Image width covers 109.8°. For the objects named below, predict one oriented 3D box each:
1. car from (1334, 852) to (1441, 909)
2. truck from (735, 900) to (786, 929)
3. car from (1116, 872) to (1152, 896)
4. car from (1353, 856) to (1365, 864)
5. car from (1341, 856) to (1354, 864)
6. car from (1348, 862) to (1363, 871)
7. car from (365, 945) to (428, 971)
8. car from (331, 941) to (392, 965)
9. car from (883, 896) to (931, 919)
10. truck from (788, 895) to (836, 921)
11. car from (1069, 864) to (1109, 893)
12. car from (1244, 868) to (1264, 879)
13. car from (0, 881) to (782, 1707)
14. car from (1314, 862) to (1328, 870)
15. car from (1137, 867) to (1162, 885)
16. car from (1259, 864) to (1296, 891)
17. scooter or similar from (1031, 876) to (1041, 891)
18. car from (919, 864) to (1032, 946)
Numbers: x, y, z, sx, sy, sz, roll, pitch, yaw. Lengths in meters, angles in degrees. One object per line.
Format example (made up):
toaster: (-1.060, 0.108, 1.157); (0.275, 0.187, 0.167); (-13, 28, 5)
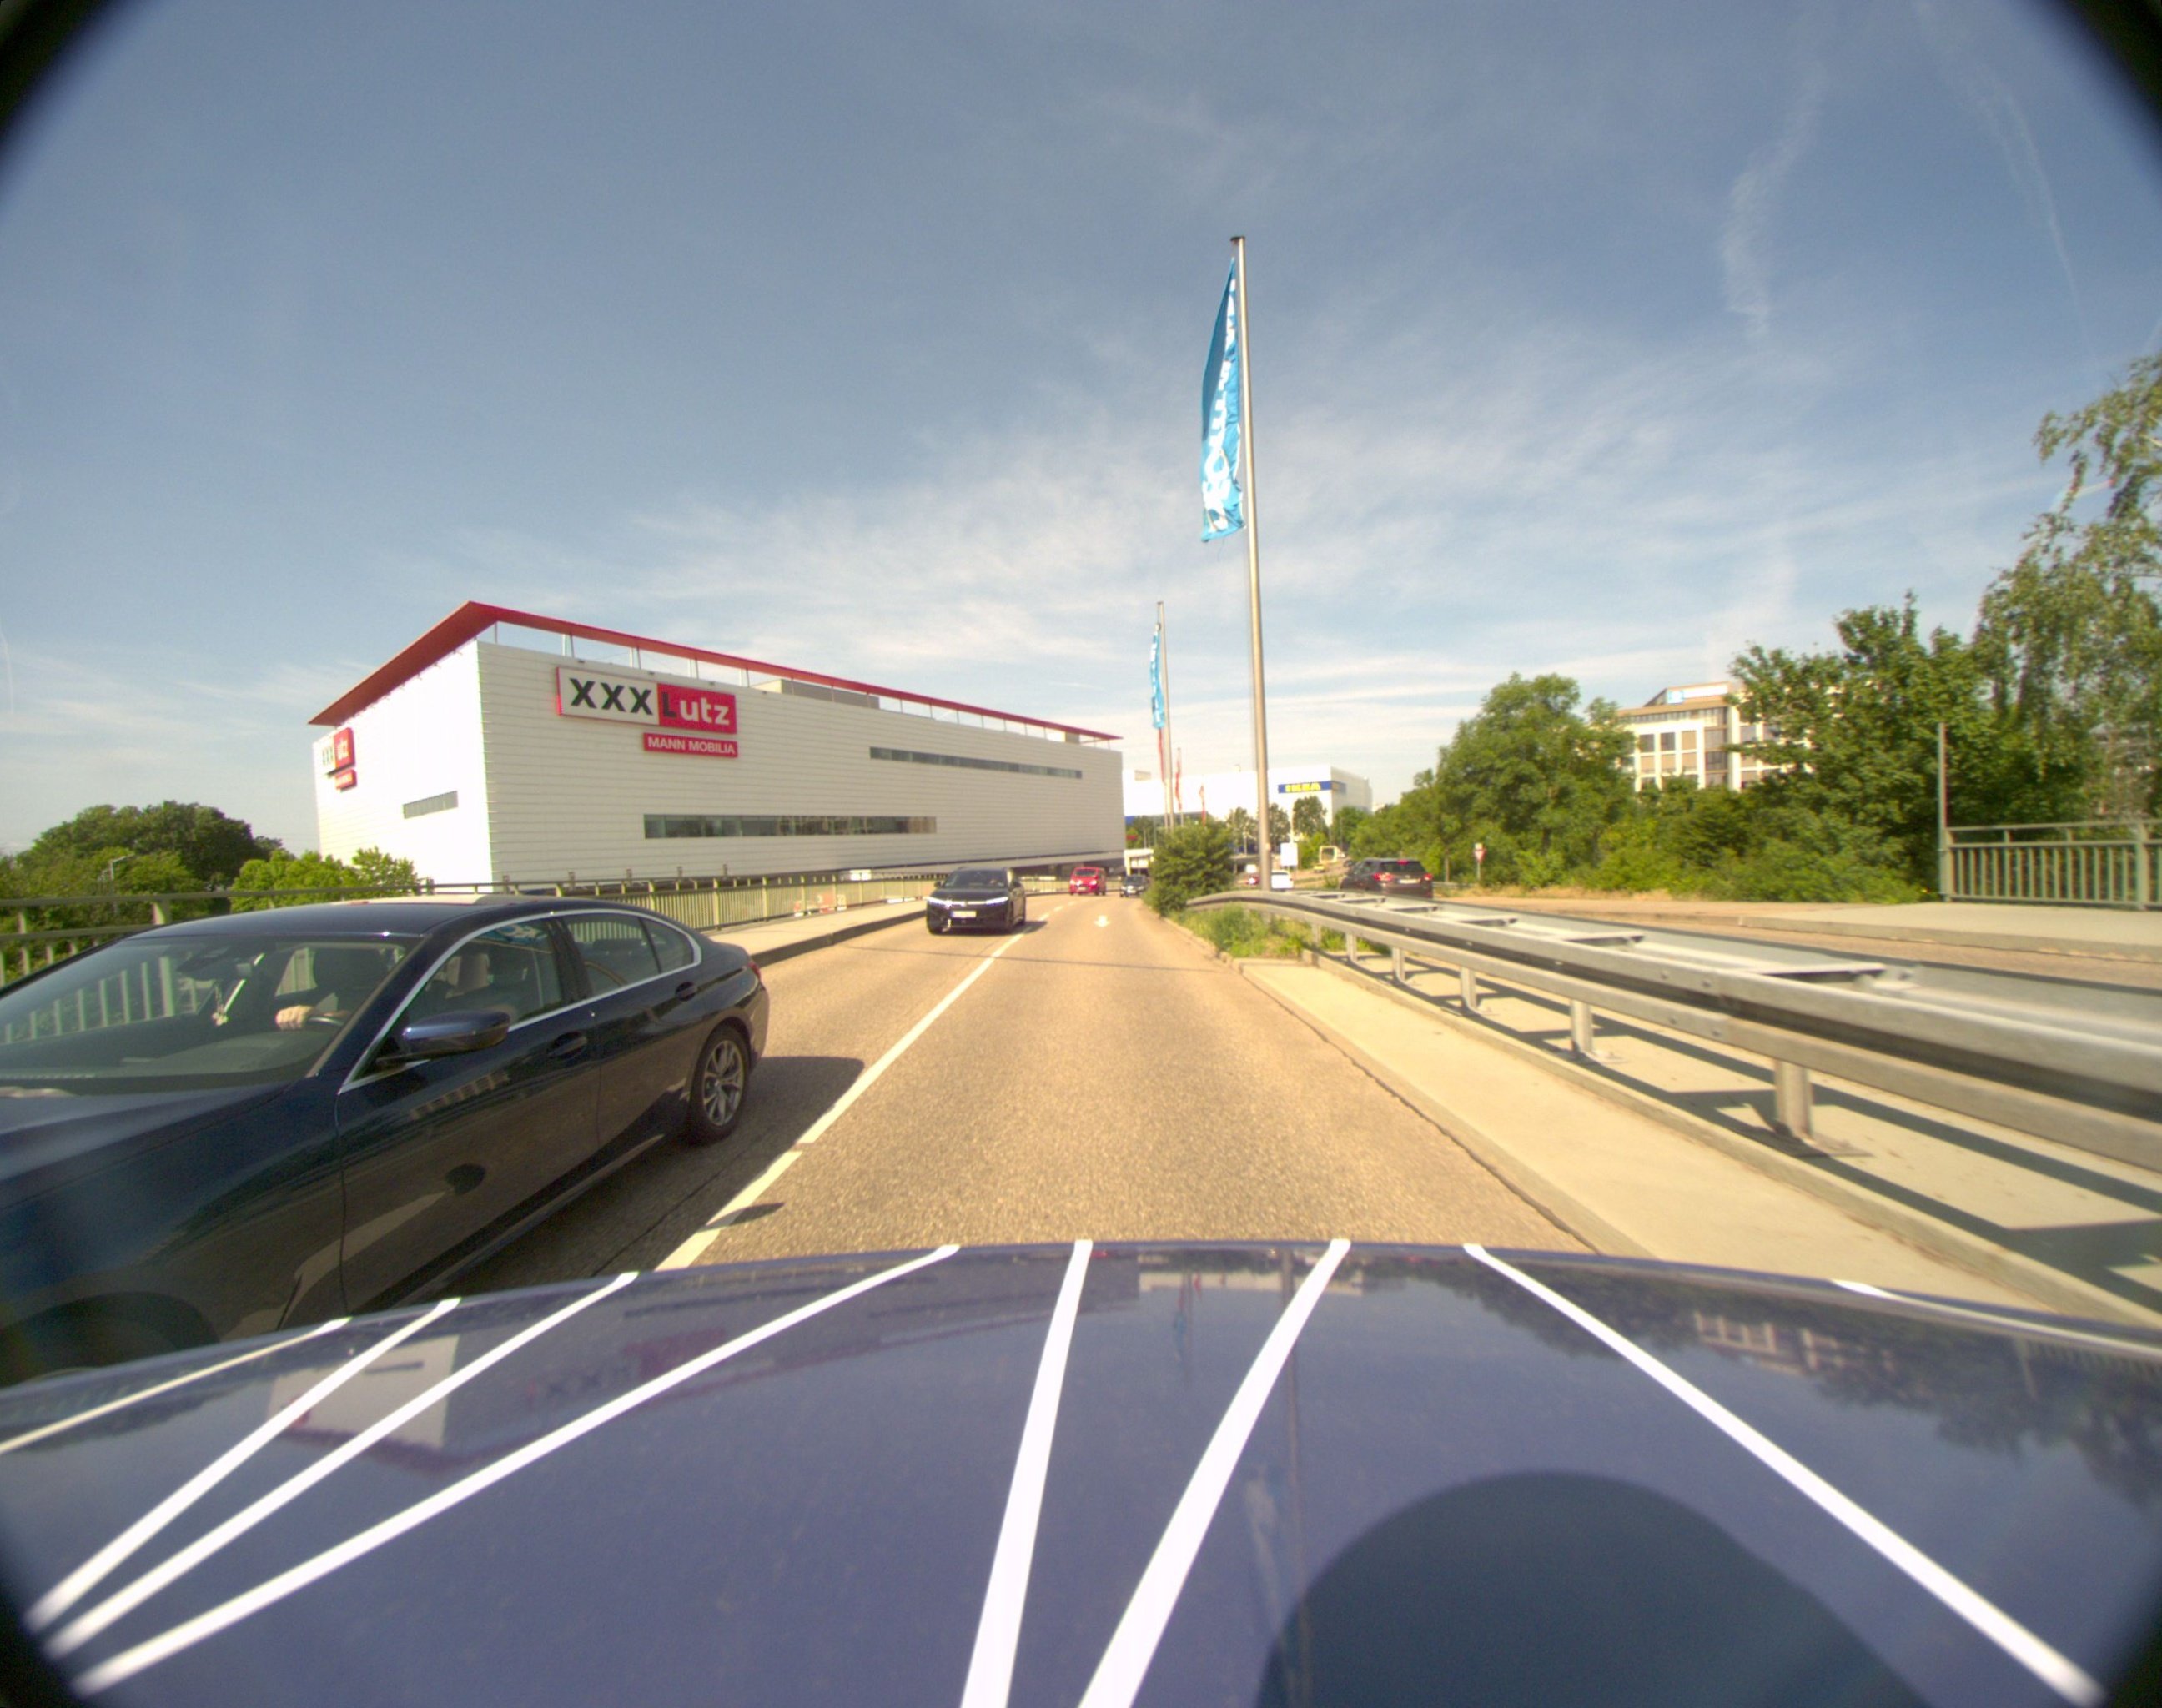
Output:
car: (9.643, 0.853, 24.282); (1.886, 1.625, 4.227); (-1, -2, 3)
truck: (-35.496, 6.610, 84.093); (5.996, 2.910, 2.136); (-2, 1, 34)
car: (3.484, 1.920, 49.359); (1.848, 1.409, 4.004); (1, -1, 11)
car: (60.329, 1.356, 164.833); (1.822, 1.466, 4.007); (-1, 2, 31)
car: (59.060, 1.280, 168.474); (1.822, 1.466, 4.007); (-1, 2, 34)
car: (49.525, 2.241, 137.249); (1.859, 1.520, 4.146); (-1, 1, 9)
car: (-60.904, 9.224, 67.667); (1.802, 1.628, 3.832); (-1, 2, 37)
car: (-68.289, 9.375, 72.159); (1.802, 1.628, 3.832); (-1, 2, 37)
car: (-21.981, 6.768, 95.889); (5.996, 2.606, 2.135); (-2, 1, 31)
truck: (-31.930, 6.360, 90.129); (5.996, 2.910, 2.136); (-2, 1, 34)
car: (0.611, 1.730, 53.025); (1.986, 1.895, 4.149); (1, -2, 12)
car: (27.091, 3.002, 118.701); (1.822, 1.466, 4.007); (-1, 2, 31)
car: (-2.960, 1.001, 2.757); (1.792, 1.475, 4.519); (-2, 1, 1)
car: (47.423, 2.382, 149.956); (1.822, 1.466, 4.007); (-1, 2, 31)
car: (6.810, 2.193, 75.025); (1.775, 1.648, 4.150); (-1, -2, 15)
car: (11.839, 1.398, 46.002); (1.800, 1.542, 4.003); (0, 0, 9)
scooter or similar: (-3.406, 2.215, 56.983); (0.512, 1.135, 1.483); (-2, -1, 5)
car: (-2.365, 1.112, 18.159); (1.860, 1.520, 4.144); (-3, 1, 3)
